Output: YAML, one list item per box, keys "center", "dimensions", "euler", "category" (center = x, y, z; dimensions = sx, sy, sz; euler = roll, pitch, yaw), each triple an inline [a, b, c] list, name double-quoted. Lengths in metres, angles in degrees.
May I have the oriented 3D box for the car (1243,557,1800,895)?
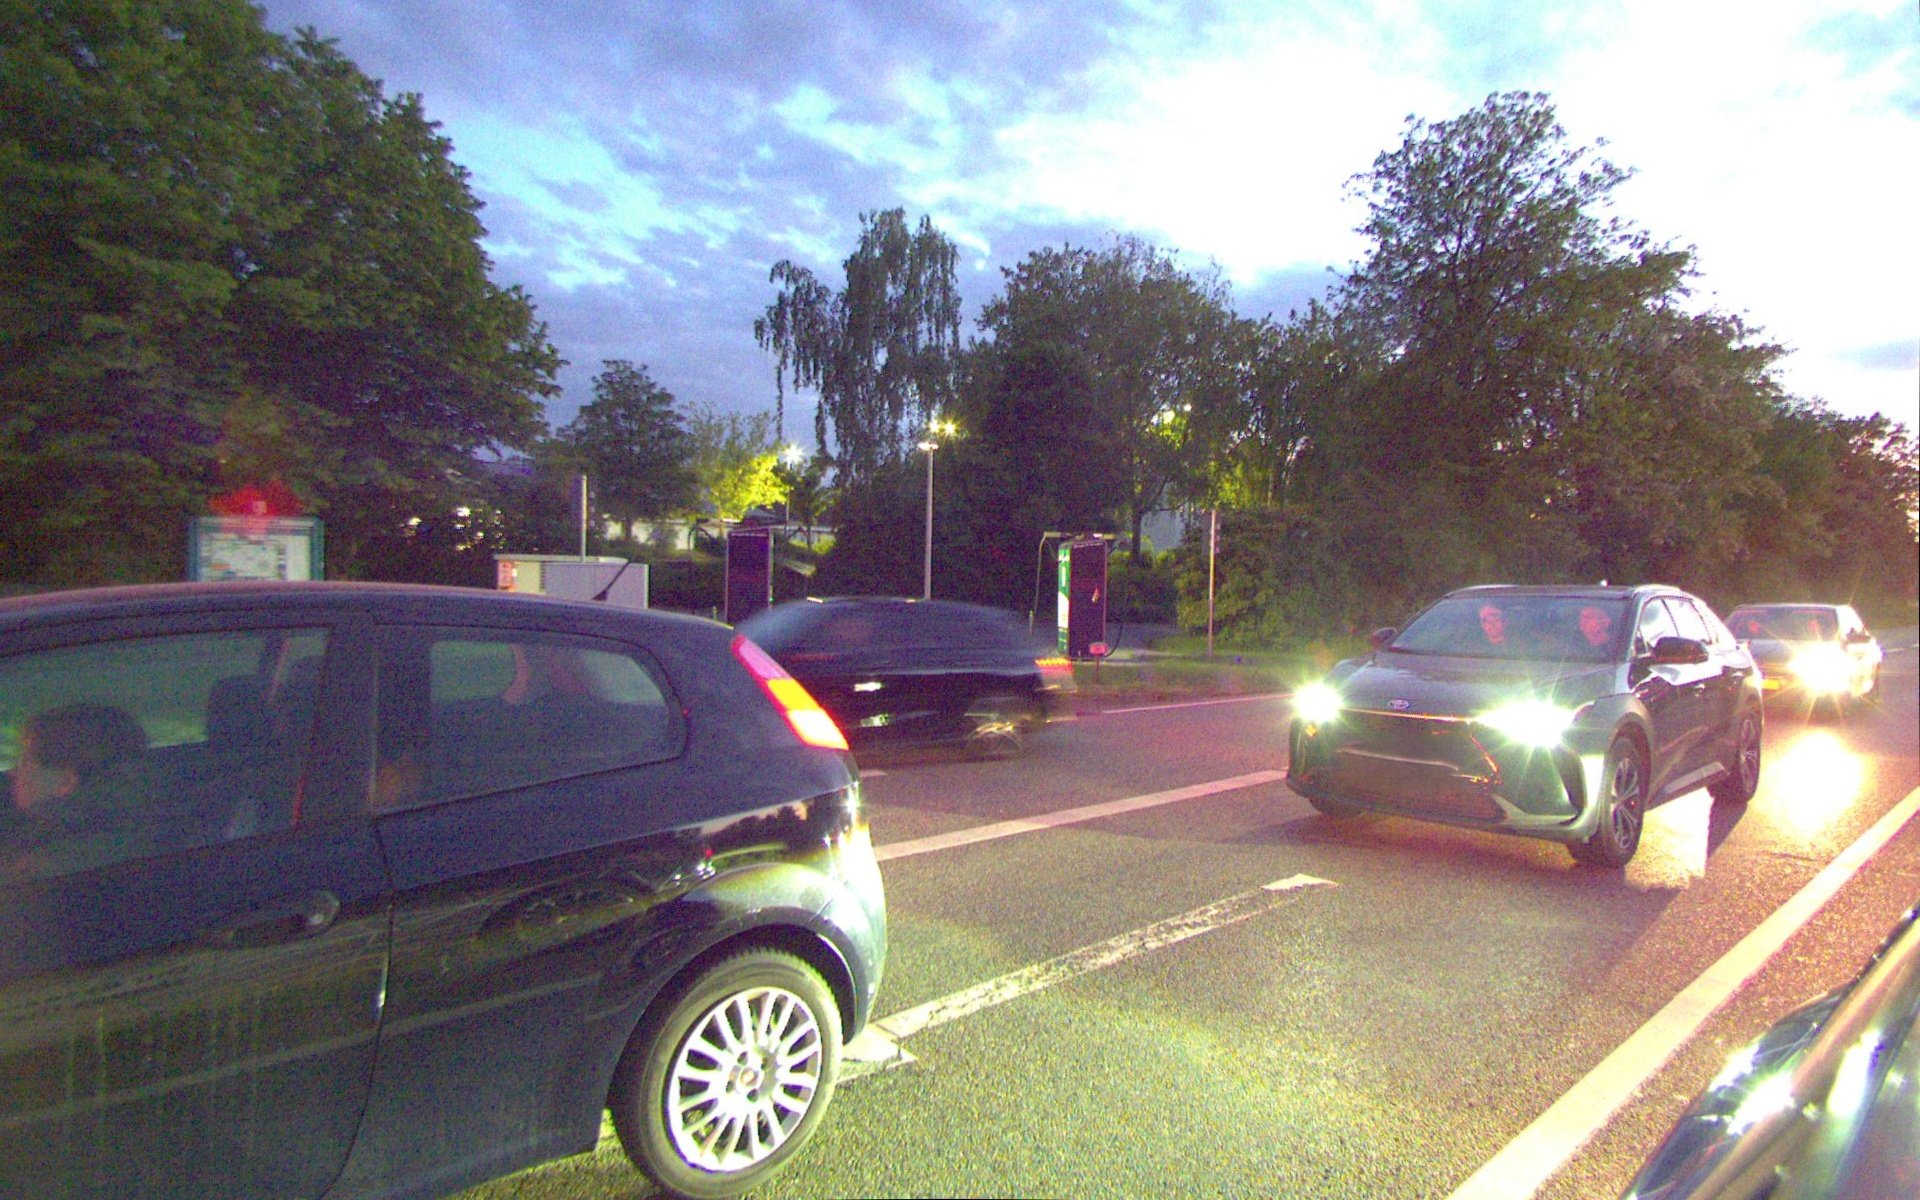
- center: [4.185, 0.597, 7.164]
  dimensions: [4.629, 1.630, 1.997]
  euler: [0, 0, -41]
  category: "car"

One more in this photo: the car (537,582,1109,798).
- center: [-1.082, 0.606, 8.915]
  dimensions: [4.611, 1.450, 1.926]
  euler: [0, 1, -33]
  category: "car"

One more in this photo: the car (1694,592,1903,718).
- center: [11.598, 0.649, 13.916]
  dimensions: [3.803, 1.487, 1.622]
  euler: [0, 0, -41]
  category: "car"

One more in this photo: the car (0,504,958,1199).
- center: [-2.089, 0.609, 2.163]
  dimensions: [4.032, 1.540, 1.674]
  euler: [0, 1, -39]
  category: "car"
